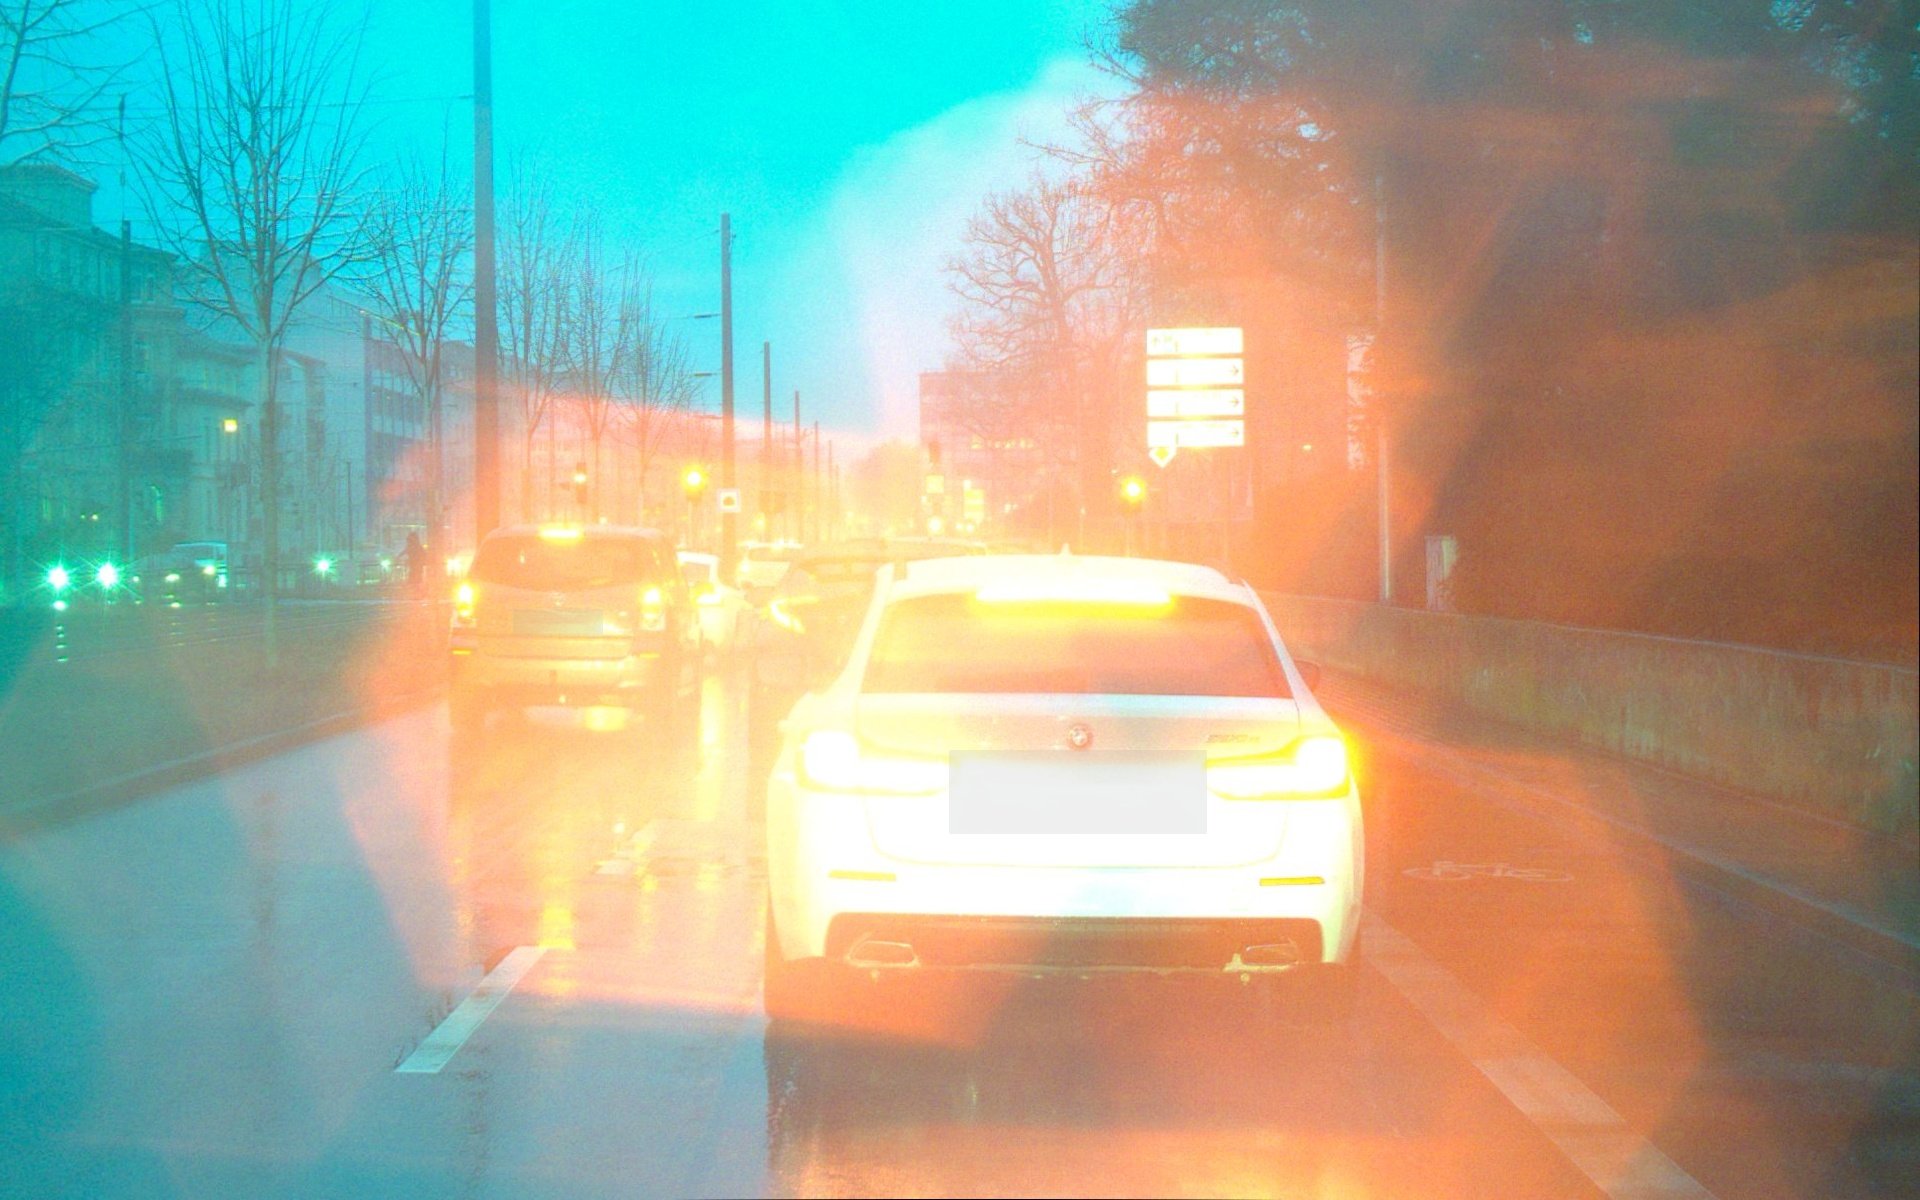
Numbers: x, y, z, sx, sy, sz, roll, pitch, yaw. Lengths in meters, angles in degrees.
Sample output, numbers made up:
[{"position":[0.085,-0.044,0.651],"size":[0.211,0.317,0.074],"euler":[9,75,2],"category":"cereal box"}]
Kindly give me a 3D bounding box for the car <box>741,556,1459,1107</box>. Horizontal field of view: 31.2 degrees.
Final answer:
[{"position":[0.381,0.624,11.713],"size":[1.999,1.503,4.164],"euler":[0,1,0],"category":"car"}]

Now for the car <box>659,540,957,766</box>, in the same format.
[{"position":[-1.001,0.312,24.522],"size":[1.936,1.452,4.164],"euler":[0,1,0],"category":"car"}]

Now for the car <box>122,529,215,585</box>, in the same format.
[{"position":[-24.803,-1.361,107.853],"size":[1.896,1.713,4.917],"euler":[0,1,-2],"category":"car"}]

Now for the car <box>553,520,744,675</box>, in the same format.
[{"position":[-3.718,-0.054,41.655],"size":[1.993,1.749,4.000],"euler":[1,1,-1],"category":"car"}]

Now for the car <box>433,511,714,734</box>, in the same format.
[{"position":[-3.026,0.129,27.634],"size":[1.806,1.640,4.000],"euler":[1,1,0],"category":"car"}]

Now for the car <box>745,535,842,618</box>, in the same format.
[{"position":[-3.420,-0.506,71.232],"size":[1.806,1.640,4.000],"euler":[1,1,0],"category":"car"}]

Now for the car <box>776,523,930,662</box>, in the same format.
[{"position":[-1.299,-0.129,43.210],"size":[1.806,1.640,4.000],"euler":[1,1,0],"category":"car"}]

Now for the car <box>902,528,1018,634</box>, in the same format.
[{"position":[-0.006,-0.332,55.887],"size":[1.806,1.640,4.000],"euler":[1,1,0],"category":"car"}]
